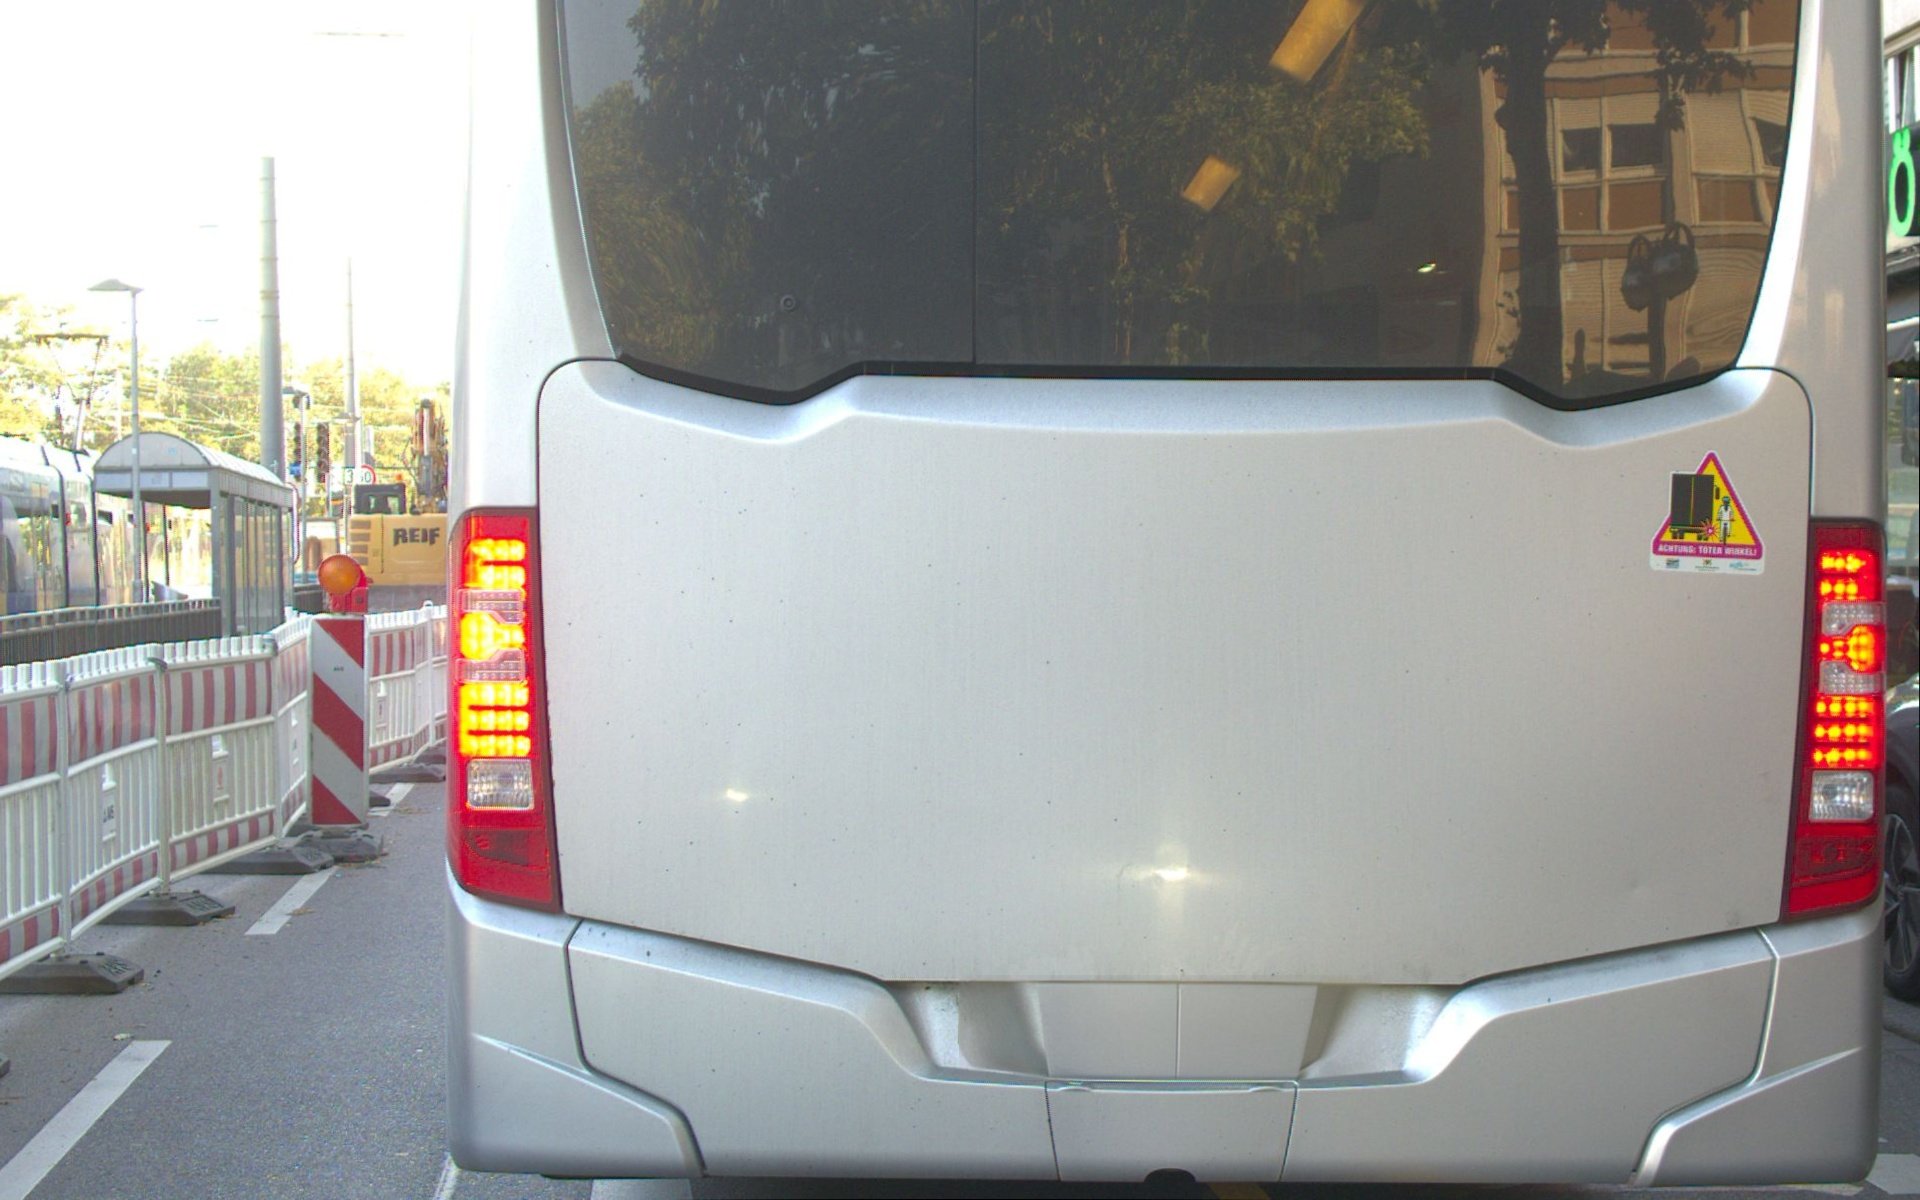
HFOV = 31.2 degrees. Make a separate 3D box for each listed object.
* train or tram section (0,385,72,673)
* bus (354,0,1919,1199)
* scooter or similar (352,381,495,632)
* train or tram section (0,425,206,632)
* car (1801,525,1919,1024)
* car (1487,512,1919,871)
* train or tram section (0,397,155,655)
[{"bbox_3d":[-13.045,-0.880,41.581,2.686,3.521,11.774,1,1,-6],"label":"train or tram section"},{"bbox_3d":[0.301,-0.185,9.571,2.611,3.115,7.993,1,1,-1],"label":"bus"},{"bbox_3d":[-10.004,-1.710,64.460,2.468,4.455,5.974,-1,1,-8],"label":"scooter or similar"},{"bbox_3d":[-16.029,-1.288,64.687,2.686,3.521,11.585,1,1,-8],"label":"train or tram section"},{"bbox_3d":[4.134,0.543,9.815,1.993,1.576,4.369,-3,1,-5],"label":"car"},{"bbox_3d":[4.318,0.368,18.106,1.993,1.576,4.369,-3,1,-5],"label":"car"},{"bbox_3d":[-14.412,-1.096,53.206,2.686,3.546,11.585,1,1,-8],"label":"train or tram section"}]
